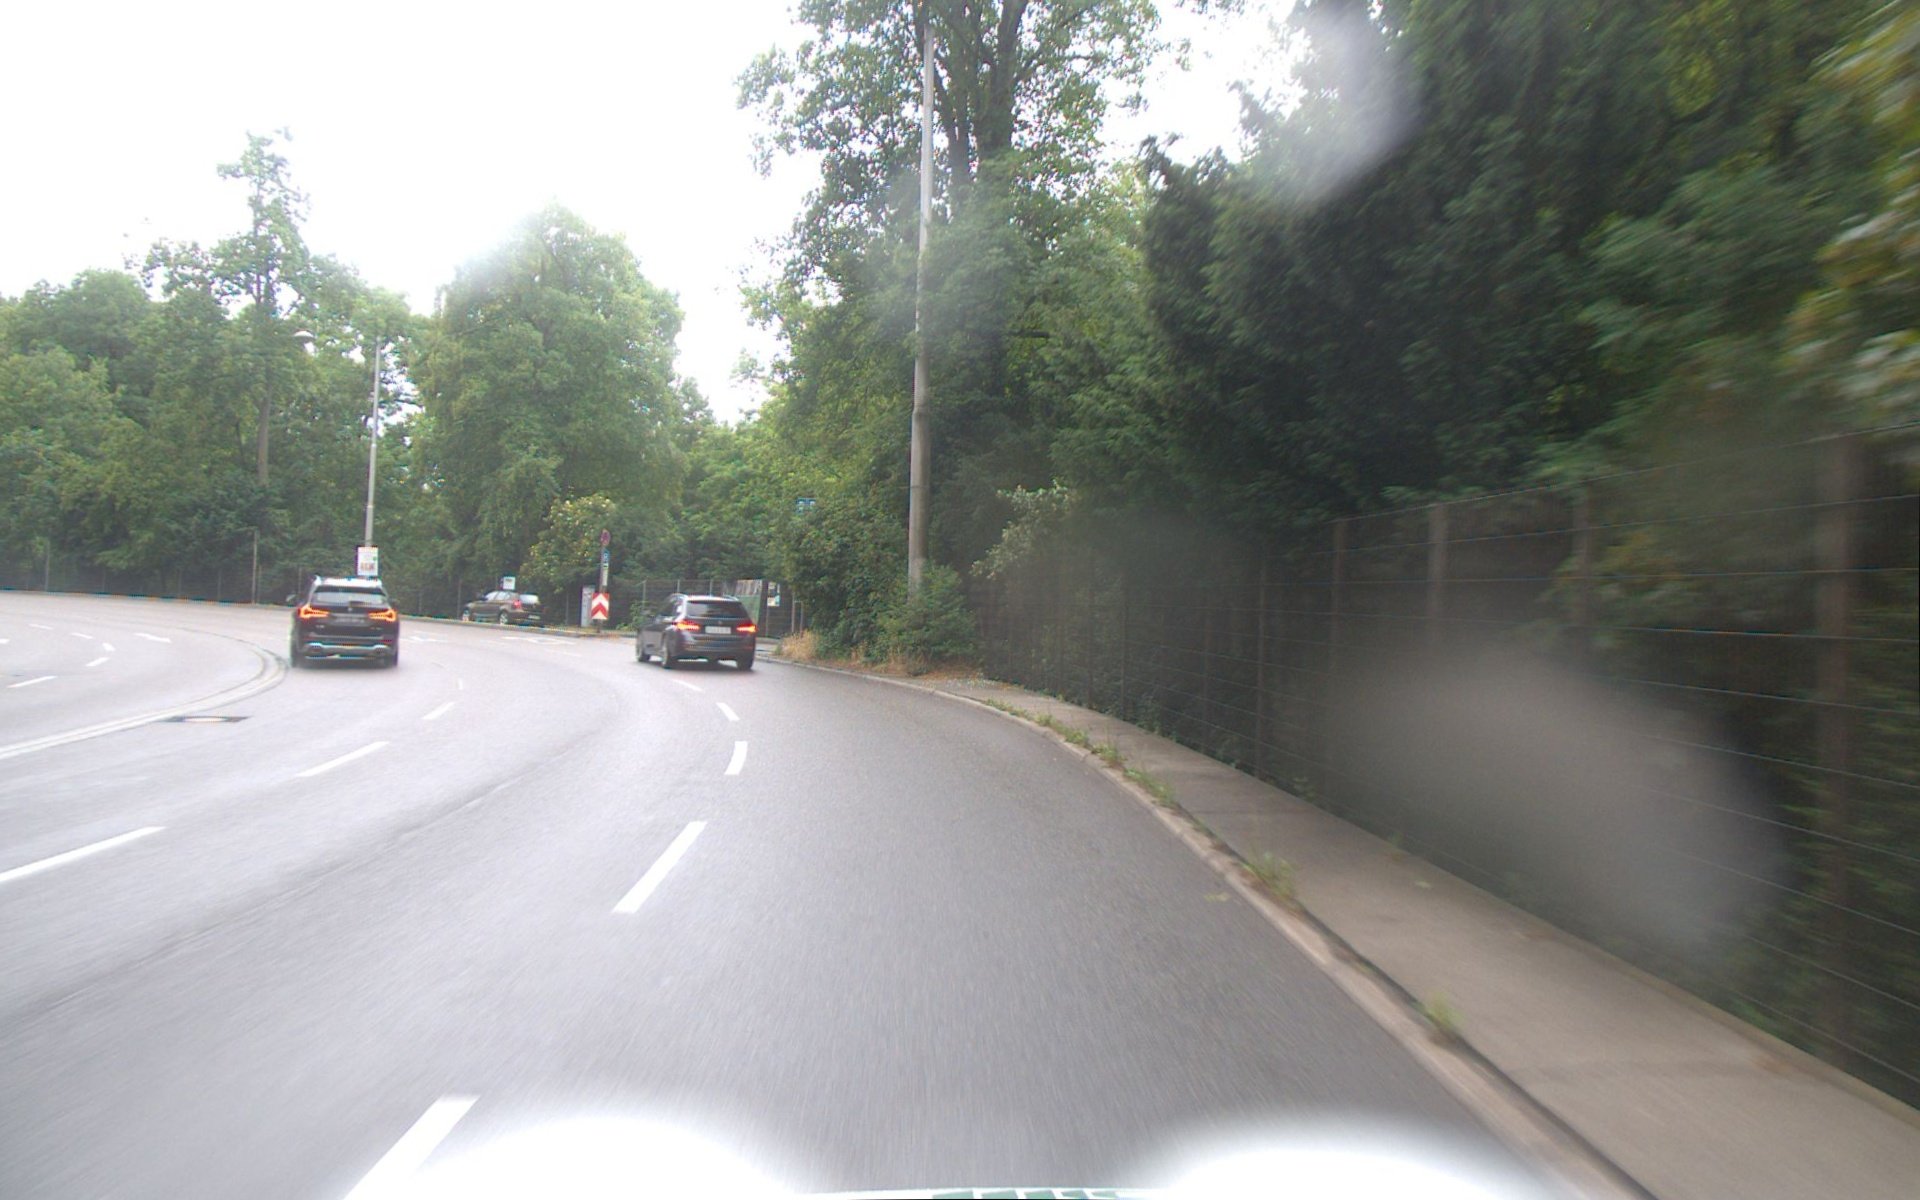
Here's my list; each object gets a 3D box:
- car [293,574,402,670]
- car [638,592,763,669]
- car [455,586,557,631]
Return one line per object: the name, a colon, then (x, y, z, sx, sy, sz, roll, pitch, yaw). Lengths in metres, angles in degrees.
car: (-11.723, 0.374, 31.878, 1.731, 1.613, 4.389, 3, 0, -18)
car: (-5.381, 0.586, 33.894, 1.732, 1.457, 4.386, 1, 0, -20)
car: (-17.681, 0.328, 64.328, 4.293, 1.451, 1.683, 3, -3, 42)
